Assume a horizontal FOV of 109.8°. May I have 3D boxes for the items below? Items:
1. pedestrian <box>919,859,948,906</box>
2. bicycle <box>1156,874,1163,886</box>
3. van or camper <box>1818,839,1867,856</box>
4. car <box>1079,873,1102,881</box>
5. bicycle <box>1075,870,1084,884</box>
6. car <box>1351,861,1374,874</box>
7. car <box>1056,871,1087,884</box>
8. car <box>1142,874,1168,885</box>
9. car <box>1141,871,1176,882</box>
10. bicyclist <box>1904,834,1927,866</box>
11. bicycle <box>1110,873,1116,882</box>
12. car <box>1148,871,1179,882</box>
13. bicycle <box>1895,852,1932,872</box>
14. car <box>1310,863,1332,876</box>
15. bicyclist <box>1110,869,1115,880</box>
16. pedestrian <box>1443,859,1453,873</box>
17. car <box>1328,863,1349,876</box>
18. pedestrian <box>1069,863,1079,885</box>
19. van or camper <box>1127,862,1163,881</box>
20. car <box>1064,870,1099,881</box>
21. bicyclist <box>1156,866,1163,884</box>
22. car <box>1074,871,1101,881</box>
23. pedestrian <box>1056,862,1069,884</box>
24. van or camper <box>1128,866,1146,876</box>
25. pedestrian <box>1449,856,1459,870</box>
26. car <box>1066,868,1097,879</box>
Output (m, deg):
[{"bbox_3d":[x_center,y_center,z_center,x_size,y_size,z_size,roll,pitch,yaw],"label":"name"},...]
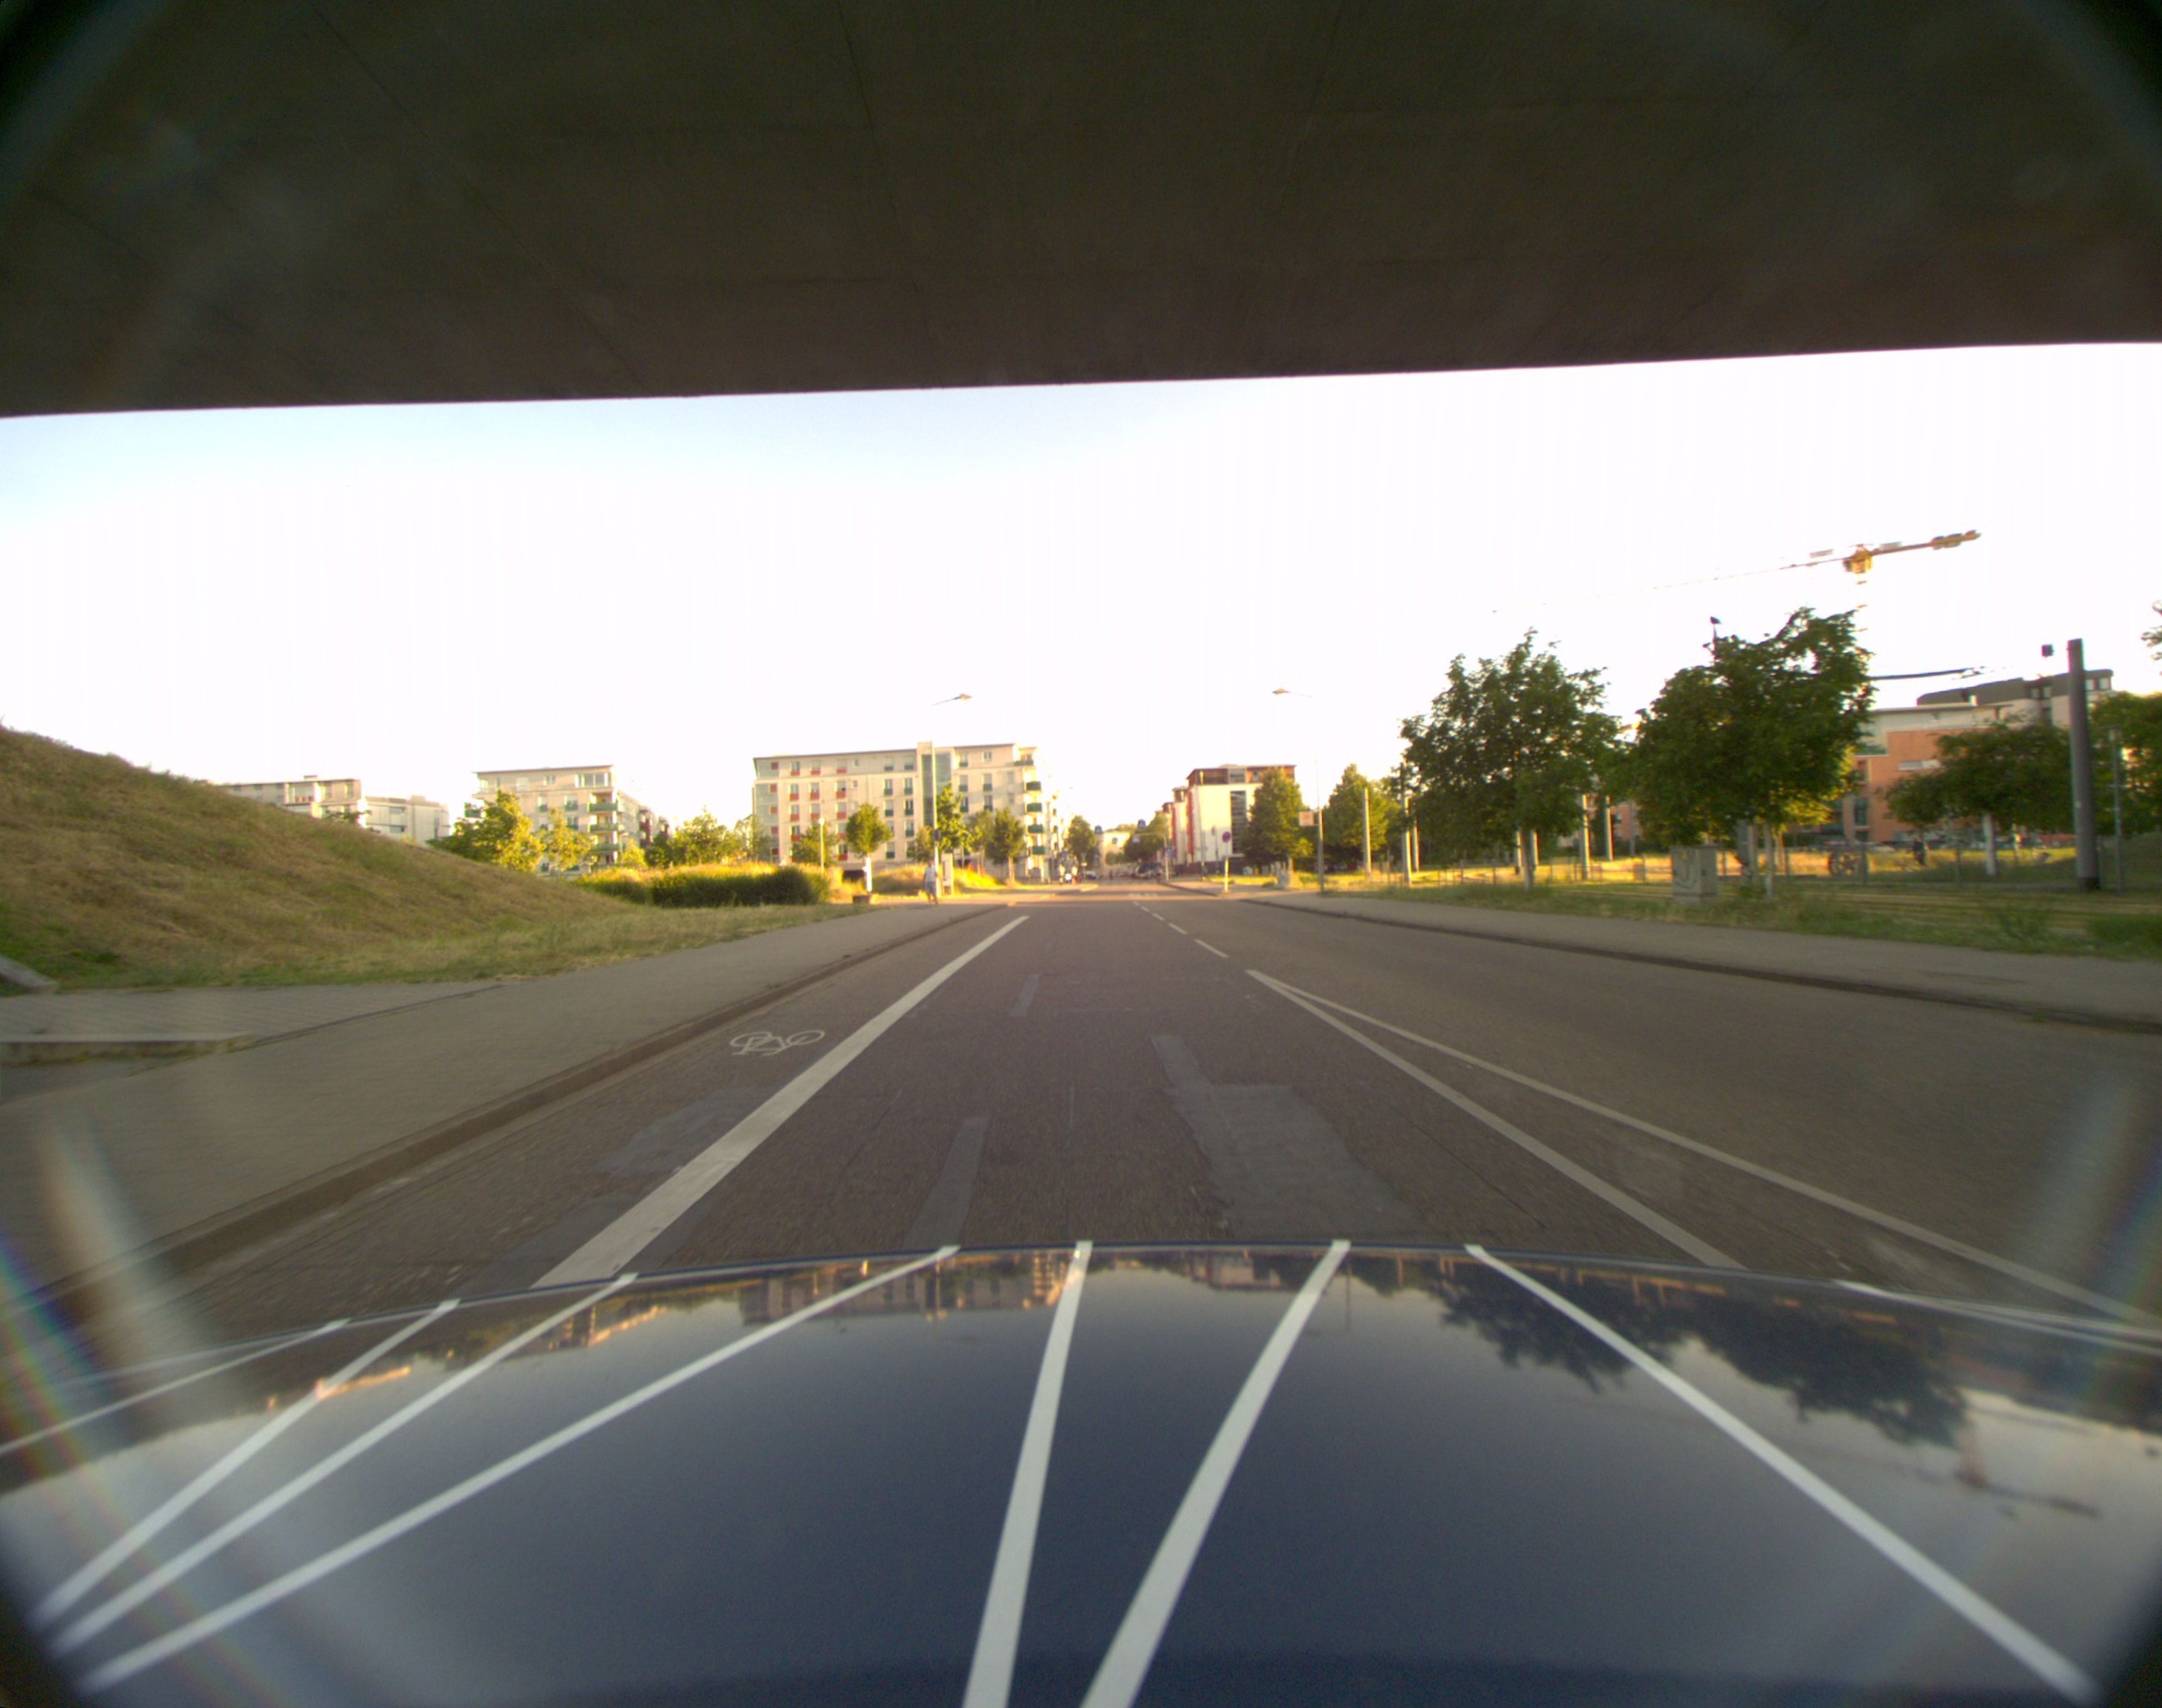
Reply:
[{"bbox_3d":[-5.609,1.075,28.985,0.833,1.756,0.818,1,0,9],"label":"pedestrian"},{"bbox_3d":[7.033,2.330,68.152,0.539,1.036,1.926,-2,-2,6],"label":"bicycle"},{"bbox_3d":[85.820,-0.701,85.688,1.832,1.684,3.883,-2,-2,5],"label":"van or camper"},{"bbox_3d":[1.890,4.454,146.362,4.250,1.527,1.693,1,-2,3],"label":"car"},{"bbox_3d":[-0.113,1.932,63.213,0.451,1.161,1.943,-2,-2,7],"label":"bicycle"},{"bbox_3d":[33.654,1.647,90.906,1.593,1.491,3.412,-2,-1,4],"label":"car"},{"bbox_3d":[-1.047,2.591,83.201,1.774,1.453,4.187,0,-2,24],"label":"car"},{"bbox_3d":[12.273,4.216,126.100,3.919,1.506,1.724,-3,-2,-2],"label":"car"},{"bbox_3d":[11.385,3.284,111.871,4.915,1.469,1.711,1,-2,0],"label":"car"},{"bbox_3d":[40.327,-0.200,36.719,0.513,1.485,0.424,-2,-2,2],"label":"bicyclist"},{"bbox_3d":[4.757,3.526,114.059,0.771,1.259,1.782,-2,-2,1],"label":"bicycle"},{"bbox_3d":[11.776,3.270,108.386,4.291,1.448,1.681,1,-2,0],"label":"car"},{"bbox_3d":[40.229,0.392,36.705,1.235,0.894,0.431,-2,-2,1],"label":"bicycle"},{"bbox_3d":[29.017,1.903,91.877,1.689,1.513,3.412,-2,-1,4],"label":"car"},{"bbox_3d":[4.745,3.147,114.018,0.767,1.617,0.663,-2,-2,1],"label":"bicyclist"},{"bbox_3d":[45.048,1.483,93.229,0.713,1.590,0.656,-3,-1,-20],"label":"pedestrian"},{"bbox_3d":[31.003,1.826,91.474,1.593,1.491,3.412,-2,-1,4],"label":"car"},{"bbox_3d":[-0.577,1.660,63.548,0.595,1.790,0.818,-2,-2,8],"label":"pedestrian"},{"bbox_3d":[11.689,3.198,139.278,6.314,3.068,2.442,-3,-1,-3],"label":"van or camper"},{"bbox_3d":[0.102,3.112,108.408,4.885,1.448,1.939,1,-2,4],"label":"car"},{"bbox_3d":[7.044,1.900,68.356,0.616,1.652,1.037,-2,-2,5],"label":"bicyclist"},{"bbox_3d":[1.076,3.546,121.650,4.294,1.498,1.686,1,-2,-1],"label":"car"},{"bbox_3d":[-1.465,1.515,60.740,0.801,1.719,0.768,-2,-2,10],"label":"pedestrian"},{"bbox_3d":[14.101,4.307,191.346,4.250,2.519,1.761,1,-1,3],"label":"van or camper"},{"bbox_3d":[45.511,1.086,92.622,0.743,1.657,0.624,-3,-1,-13],"label":"pedestrian"},{"bbox_3d":[0.038,2.852,111.655,4.410,1.498,1.744,1,-2,5],"label":"car"}]
